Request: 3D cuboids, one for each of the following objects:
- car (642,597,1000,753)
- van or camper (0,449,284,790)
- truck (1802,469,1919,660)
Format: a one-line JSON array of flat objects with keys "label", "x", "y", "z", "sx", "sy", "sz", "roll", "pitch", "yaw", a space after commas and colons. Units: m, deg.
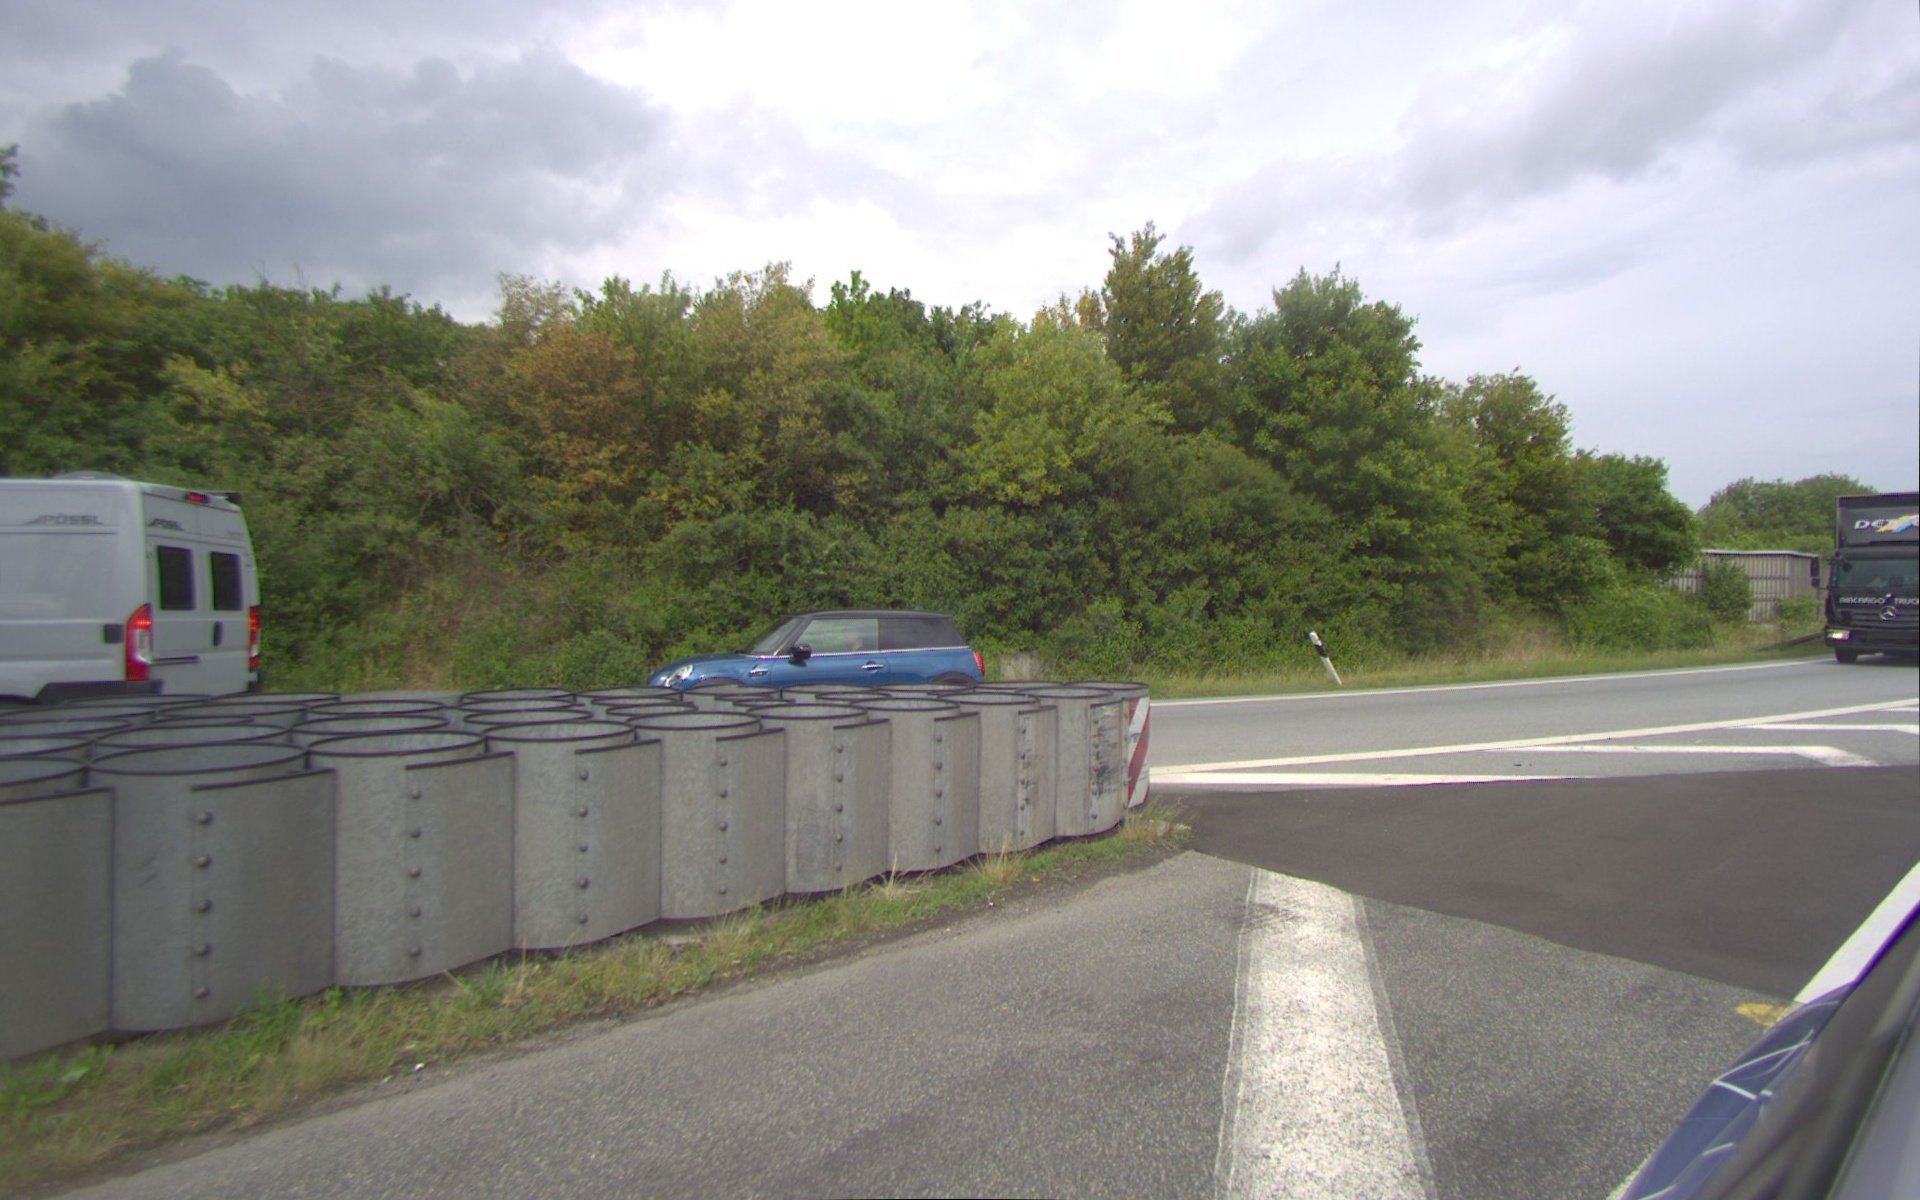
[{"label": "car", "x": -1.560, "y": 0.711, "z": 11.060, "sx": 3.589, "sy": 1.437, "sz": 1.738, "roll": -1, "pitch": 0, "yaw": -19}, {"label": "van or camper", "x": -9.523, "y": 0.131, "z": 8.447, "sx": 6.032, "sy": 2.600, "sz": 2.306, "roll": 0, "pitch": 1, "yaw": -12}, {"label": "truck", "x": 23.892, "y": -0.800, "z": 24.557, "sx": 10.148, "sy": 4.004, "sz": 3.025, "roll": -1, "pitch": 0, "yaw": -37}]
